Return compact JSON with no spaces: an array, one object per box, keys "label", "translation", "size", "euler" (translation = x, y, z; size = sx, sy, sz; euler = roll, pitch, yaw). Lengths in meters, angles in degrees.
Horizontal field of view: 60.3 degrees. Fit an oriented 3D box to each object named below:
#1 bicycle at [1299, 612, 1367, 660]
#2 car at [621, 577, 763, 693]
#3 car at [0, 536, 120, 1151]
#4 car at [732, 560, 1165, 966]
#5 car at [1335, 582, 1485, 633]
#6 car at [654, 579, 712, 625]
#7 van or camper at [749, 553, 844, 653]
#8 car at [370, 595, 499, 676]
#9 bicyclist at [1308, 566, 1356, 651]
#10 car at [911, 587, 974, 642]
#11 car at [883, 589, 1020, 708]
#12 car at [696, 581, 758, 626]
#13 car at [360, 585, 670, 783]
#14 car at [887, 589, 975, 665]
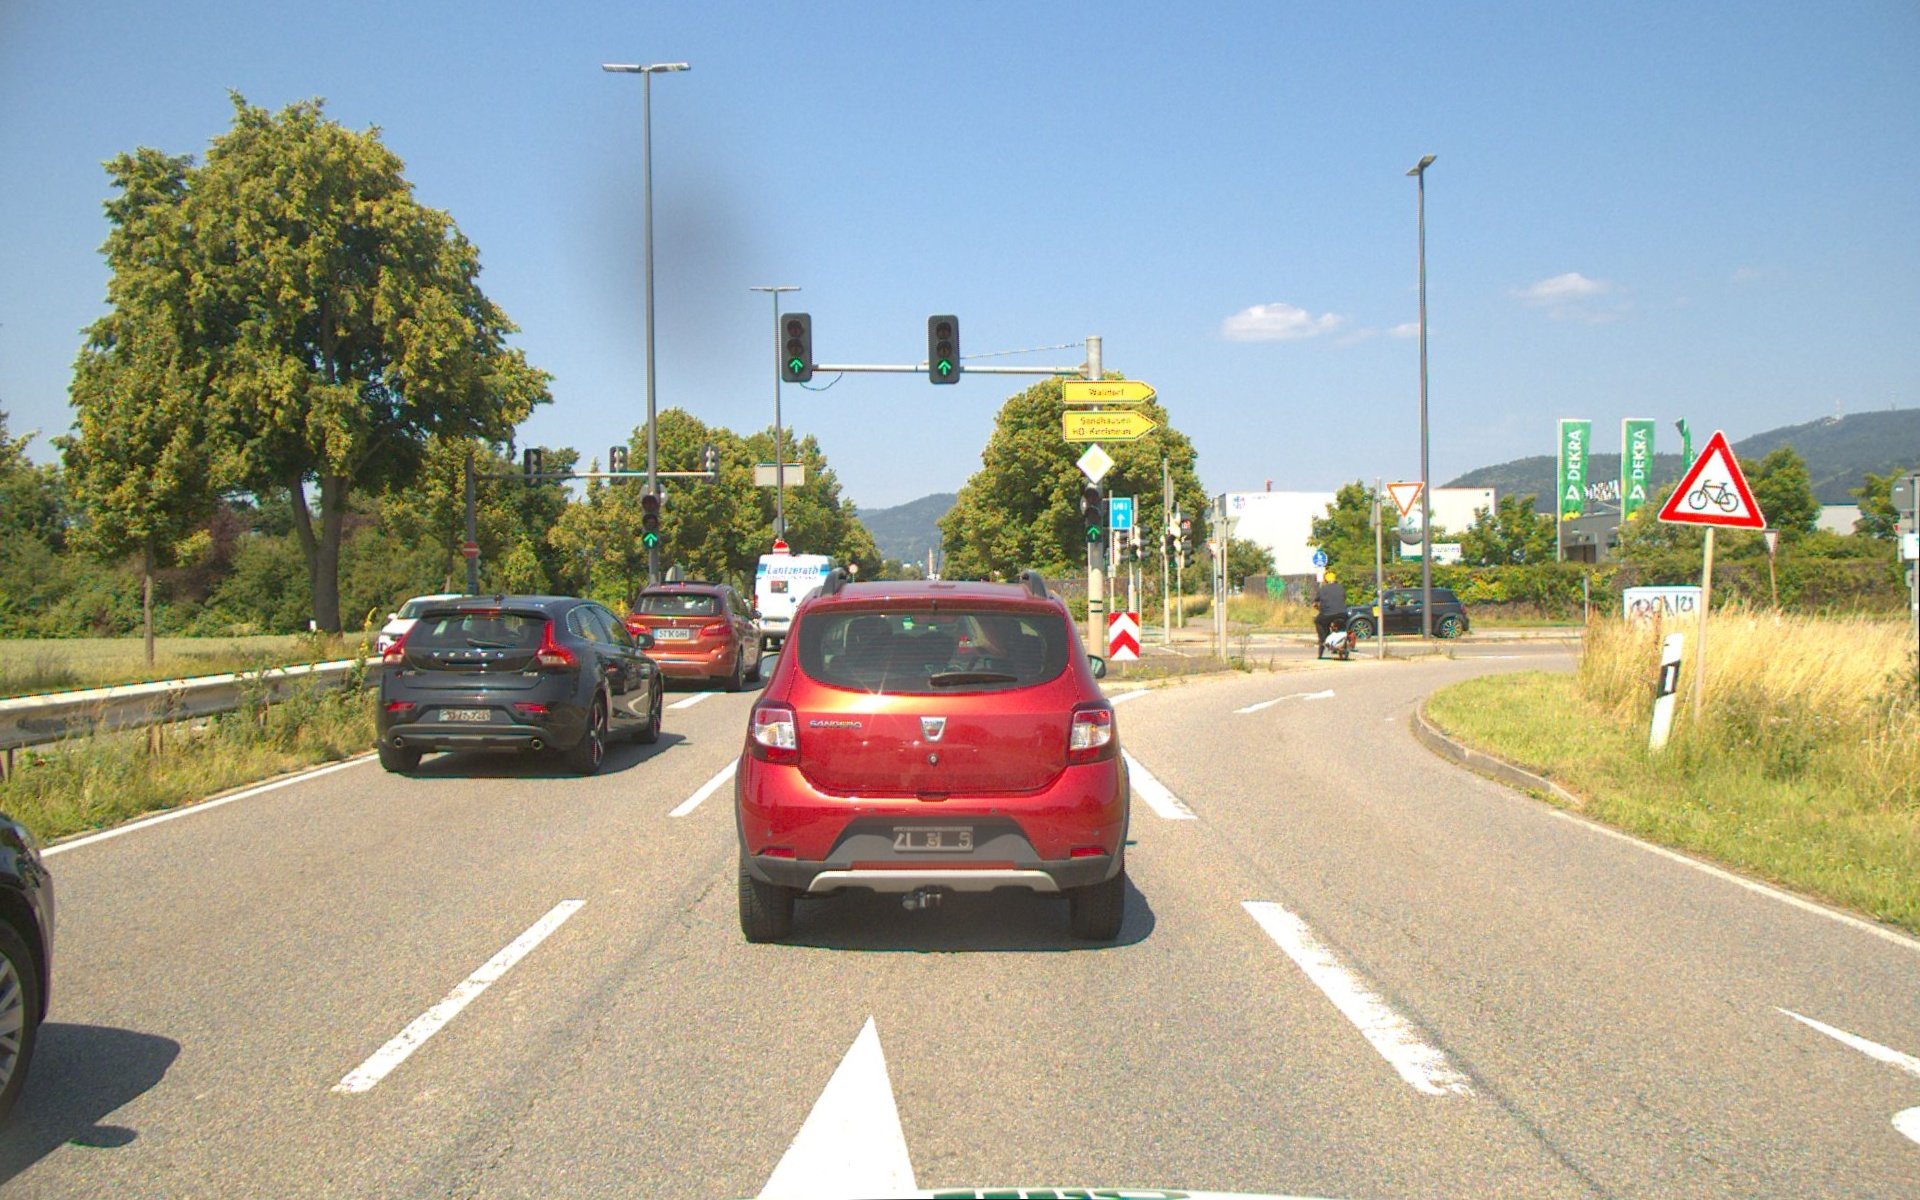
[{"label":"bicycle","translation":[7.971,0.757,35.512],"size":[0.746,0.931,2.779],"euler":[-1,1,-2]},{"label":"car","translation":[-4.043,0.480,25.499],"size":[1.689,1.628,3.954],"euler":[0,0,-2]},{"label":"car","translation":[-3.336,0.641,2.957],"size":[1.688,1.603,3.892],"euler":[0,0,0]},{"label":"car","translation":[-0.022,0.638,8.402],"size":[1.713,1.603,3.677],"euler":[0,0,1]},{"label":"car","translation":[12.540,0.208,46.280],"size":[3.902,1.350,1.808],"euler":[-1,1,10]},{"label":"car","translation":[-12.615,0.071,75.612],"size":[1.953,2.015,5.014],"euler":[-1,1,-2]},{"label":"van or camper","translation":[-4.017,0.063,41.402],"size":[2.136,2.343,4.824],"euler":[1,0,-3]},{"label":"car","translation":[-11.538,0.725,36.589],"size":[1.711,1.646,4.133],"euler":[-1,0,-3]},{"label":"bicyclist","translation":[7.961,0.177,35.415],"size":[0.786,1.802,0.808],"euler":[-1,0,-2]},{"label":"car","translation":[-0.475,0.383,47.218],"size":[1.713,1.483,3.677],"euler":[0,0,1]},{"label":"car","translation":[-0.084,0.594,22.503],"size":[1.713,1.483,3.677],"euler":[0,0,1]},{"label":"car","translation":[-9.103,0.121,64.919],"size":[1.953,1.699,3.999],"euler":[-1,0,-1]},{"label":"car","translation":[-3.747,0.625,14.621],"size":[1.667,1.467,3.955],"euler":[1,1,0]},{"label":"car","translation":[-0.559,0.526,34.586],"size":[1.713,1.483,3.677],"euler":[0,0,1]}]
